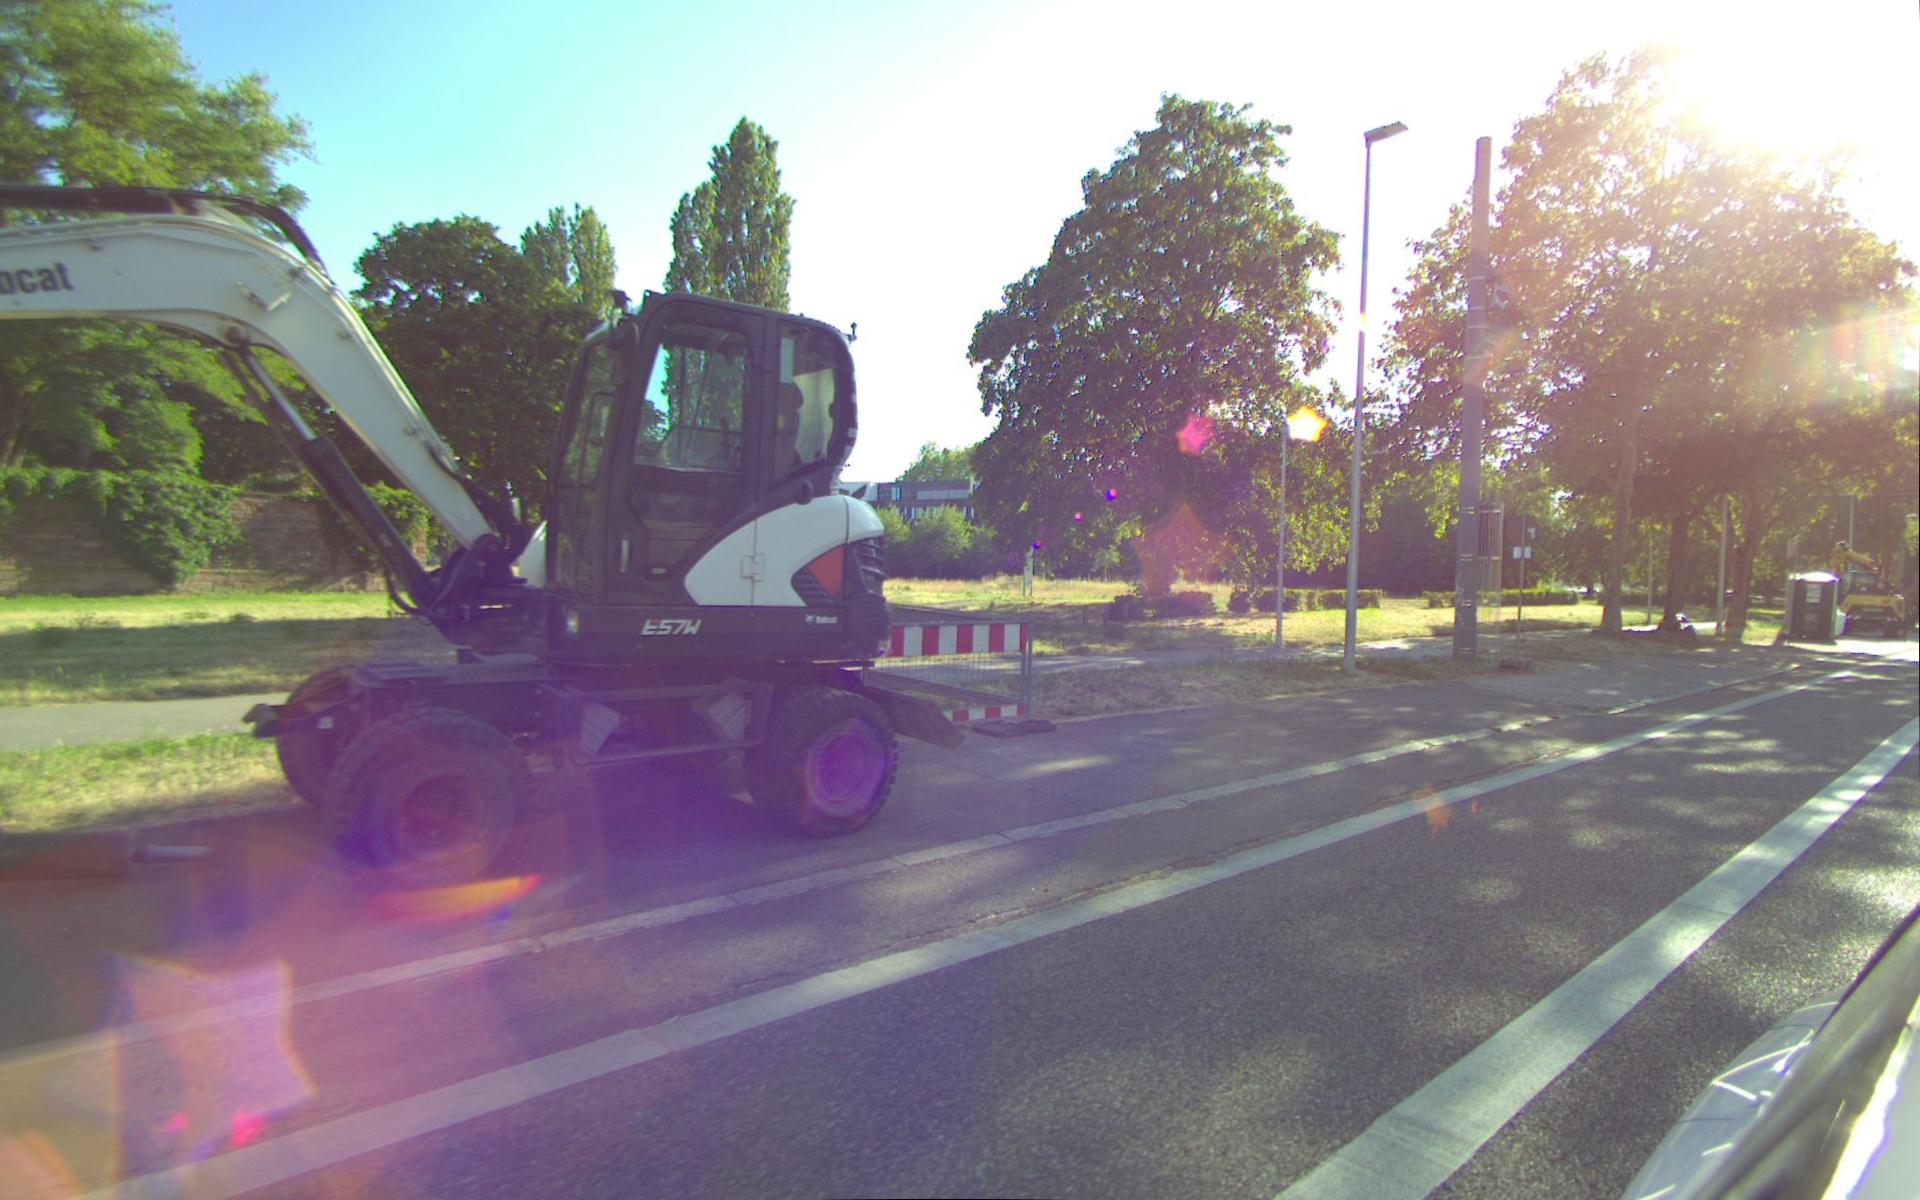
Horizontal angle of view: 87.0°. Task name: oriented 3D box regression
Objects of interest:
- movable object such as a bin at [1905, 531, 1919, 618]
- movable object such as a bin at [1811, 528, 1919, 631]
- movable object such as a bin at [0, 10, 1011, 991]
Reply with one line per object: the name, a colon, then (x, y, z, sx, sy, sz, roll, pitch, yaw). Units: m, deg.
movable object such as a bin: (55.212, -1.329, 56.480, 7.472, 4.665, 2.919, 0, 5, -44)
movable object such as a bin: (39.987, -0.924, 44.159, 7.472, 4.023, 3.344, 0, 5, -44)
movable object such as a bin: (-3.344, -0.403, 4.911, 7.092, 3.183, 2.751, 0, 5, -41)
